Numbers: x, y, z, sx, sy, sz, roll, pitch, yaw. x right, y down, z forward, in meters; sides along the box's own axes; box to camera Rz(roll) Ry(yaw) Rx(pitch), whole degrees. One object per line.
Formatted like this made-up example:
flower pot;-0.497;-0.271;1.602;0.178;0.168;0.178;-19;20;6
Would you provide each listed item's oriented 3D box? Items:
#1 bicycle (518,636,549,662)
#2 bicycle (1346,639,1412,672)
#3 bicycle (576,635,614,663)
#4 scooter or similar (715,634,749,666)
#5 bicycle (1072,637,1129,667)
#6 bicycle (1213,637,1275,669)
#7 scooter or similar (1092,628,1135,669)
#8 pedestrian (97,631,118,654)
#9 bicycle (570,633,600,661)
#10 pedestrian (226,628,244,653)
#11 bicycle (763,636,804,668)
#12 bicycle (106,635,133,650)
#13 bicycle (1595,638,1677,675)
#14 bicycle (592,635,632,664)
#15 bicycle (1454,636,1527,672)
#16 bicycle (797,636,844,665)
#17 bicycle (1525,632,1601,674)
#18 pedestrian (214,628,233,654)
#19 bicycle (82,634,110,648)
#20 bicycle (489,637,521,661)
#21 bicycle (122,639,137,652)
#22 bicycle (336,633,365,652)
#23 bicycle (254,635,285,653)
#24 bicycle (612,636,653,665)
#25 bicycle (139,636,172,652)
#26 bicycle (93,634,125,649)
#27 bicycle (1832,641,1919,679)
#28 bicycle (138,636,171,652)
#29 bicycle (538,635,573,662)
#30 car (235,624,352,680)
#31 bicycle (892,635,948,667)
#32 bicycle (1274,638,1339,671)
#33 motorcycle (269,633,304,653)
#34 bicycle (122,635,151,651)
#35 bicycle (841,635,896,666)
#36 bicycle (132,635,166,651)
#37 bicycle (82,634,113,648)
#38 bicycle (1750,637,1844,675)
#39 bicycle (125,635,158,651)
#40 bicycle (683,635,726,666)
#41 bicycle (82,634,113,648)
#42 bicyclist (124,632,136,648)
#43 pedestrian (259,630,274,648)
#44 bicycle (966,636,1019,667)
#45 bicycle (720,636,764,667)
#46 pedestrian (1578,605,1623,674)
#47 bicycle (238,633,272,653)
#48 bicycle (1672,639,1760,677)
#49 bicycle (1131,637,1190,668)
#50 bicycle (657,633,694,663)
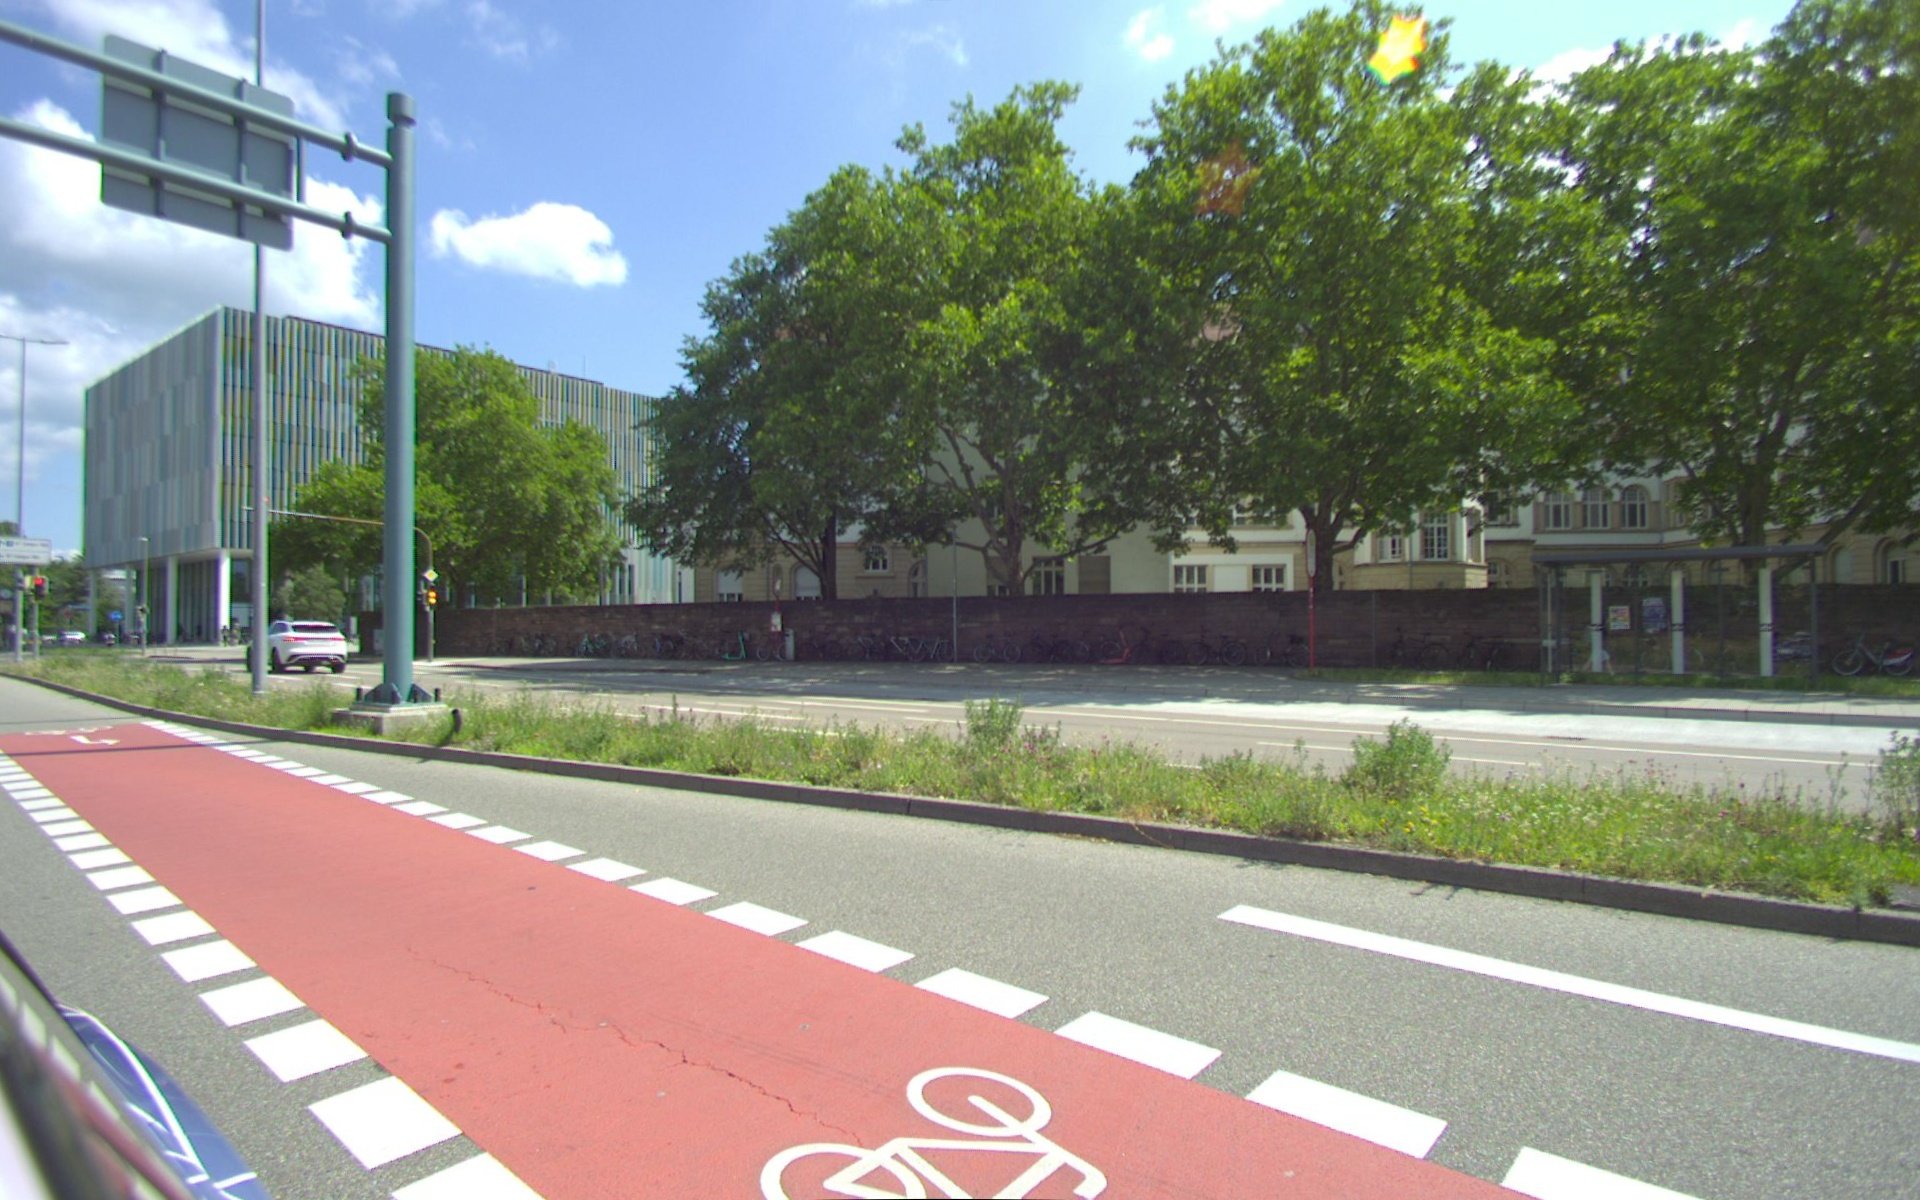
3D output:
bicycle;-19.122;2.191;45.387;1.589;1.161;0.495;-2;-2;33
bicycle;11.606;1.532;28.063;1.656;0.909;0.540;-1;-2;26
bicycle;-15.376;2.058;42.614;1.581;1.161;0.400;-1;-2;18
scooter or similar;-8.485;1.866;37.633;1.184;1.161;0.430;-1;-2;20
bicycle;4.342;1.594;31.366;1.658;0.909;0.540;-1;-2;29
bicycle;8.276;1.530;29.540;1.656;0.909;0.540;-1;-2;26
scooter or similar;4.623;1.458;30.468;1.184;1.192;0.430;-1;-2;20
pedestrian;-62.549;3.119;74.241;0.876;1.641;0.962;-1;-2;31
bicycle;-16.113;2.019;43.504;1.591;1.161;0.408;-2;-2;36
pedestrian;-58.896;3.288;82.227;0.955;1.940;0.882;0;-2;-23
bicycle;-6.515;1.899;37.299;1.587;1.151;0.429;-2;-2;29
bicycle;-86.607;4.324;104.295;0.621;1.506;2.044;-2;-2;41
bicycle;17.338;1.450;25.990;1.653;0.909;0.541;-1;-2;21
bicycle;-14.376;2.050;41.846;1.576;1.161;0.401;-1;-2;8
bicycle;14.148;1.438;27.037;1.655;0.959;0.541;-1;-2;24
bicycle;-5.036;1.805;36.417;1.795;1.016;0.476;-2;-2;32
bicycle;15.675;1.374;26.326;1.614;1.059;0.541;-1;-2;24
pedestrian;-57.619;3.199;79.195;0.955;1.940;0.882;0;-2;-20
bicycle;-93.970;4.437;110.069;0.656;1.506;2.273;-2;-2;41
bicycle;-20.915;2.256;46.536;1.589;1.107;0.567;-2;-2;33
bicycle;-64.679;3.533;78.774;2.164;1.006;0.638;-2;-2;44
bicycle;-50.819;3.523;84.417;0.983;1.564;3.423;0;-2;-13
bicycle;-57.337;3.640;84.052;0.919;1.505;2.690;0;-1;-4
bicycle;-13.339;2.037;41.210;1.576;1.161;0.401;-1;-2;8
bicycle;-77.007;4.178;96.900;2.473;1.506;0.731;1;-2;-39
bicycle;-88.814;4.350;105.652;0.621;1.506;2.479;-2;-2;41
bicycle;22.256;1.441;24.398;1.781;0.909;0.450;-1;-2;21
bicycle;-76.428;4.162;96.027;0.621;1.506;2.420;-2;-2;41
bicycle;-17.741;2.137;44.399;1.589;1.161;0.616;-2;-2;33
car;-21.631;1.639;32.772;4.774;1.680;2.048;-2;-2;42
bicycle;-1.349;1.709;34.165;1.887;1.055;0.540;-2;-2;29
bicycle;9.788;1.538;28.622;1.663;0.909;0.497;-2;-2;38
motorcycle;-56.003;3.536;84.165;0.957;1.652;3.301;0;-2;-5
bicycle;-81.662;4.246;100.336;0.621;1.506;2.172;-2;-2;41
bicycle;-3.196;1.755;35.315;1.941;1.055;0.540;-2;-2;29
bicycle;-79.620;4.228;99.351;0.621;1.506;2.479;-2;-2;41
bicycle;-92.596;4.408;108.620;0.621;1.506;2.479;-2;-2;41
bicycle;20.545;1.379;24.865;1.653;0.909;0.541;-1;-2;21
bicycle;-79.412;4.204;98.205;0.621;1.506;2.479;-2;-2;41
bicycle;-9.867;1.952;39.028;1.582;1.161;0.530;-1;-2;19
bicycle;-93.057;4.418;109.158;0.621;1.506;2.479;-2;-2;41
bicyclist;-64.688;3.099;78.880;0.834;1.235;0.610;-2;-2;43
pedestrian;-65.200;3.661;95.113;0.997;1.720;1.214;0;-2;-28
bicycle;1.035;1.668;32.761;1.658;0.956;0.540;-2;-2;29
bicycle;-8.244;1.937;38.256;1.582;1.161;0.530;-1;-2;19
pedestrian;15.495;0.953;24.491;0.752;1.629;0.612;-1;-1;20
bicycle;-58.358;3.548;83.798;0.797;1.656;3.420;0;-2;-8
bicycle;18.951;1.448;25.410;1.653;0.909;0.541;-1;-2;21
bicycle;6.036;1.574;30.494;1.658;0.909;0.540;-2;-2;29
bicycle;-11.298;1.898;40.200;1.587;1.161;0.398;-2;-2;30
